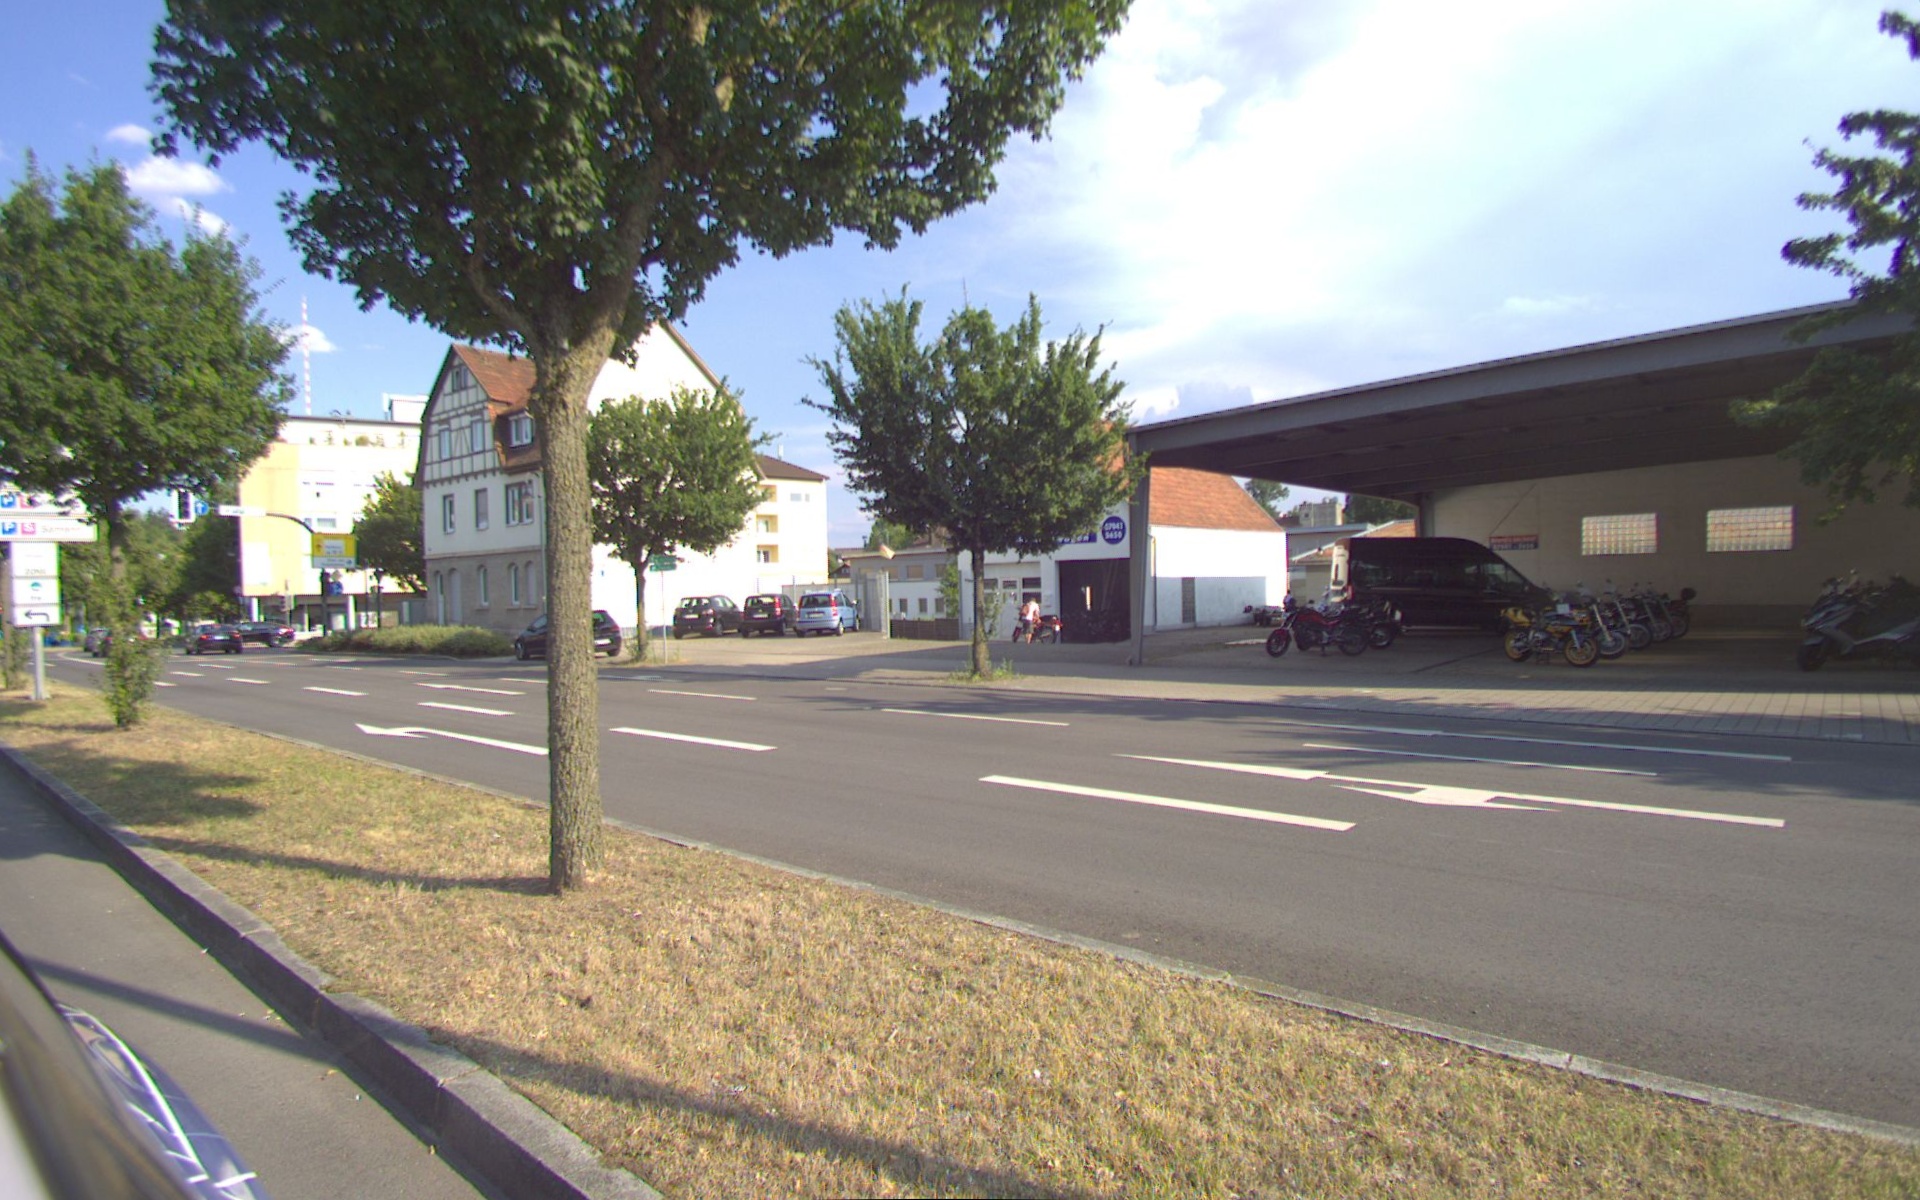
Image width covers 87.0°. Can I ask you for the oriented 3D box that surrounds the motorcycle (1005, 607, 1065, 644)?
[{"bbox_3d":[2.450,0.833,33.204,1.974,1.194,0.577,-1,0,41],"label":"motorcycle"}]

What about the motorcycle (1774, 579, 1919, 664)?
[{"bbox_3d":[14.929,0.356,16.770,2.103,1.306,0.628,-3,-1,17],"label":"motorcycle"}]

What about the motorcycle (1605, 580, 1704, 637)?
[{"bbox_3d":[17.307,0.214,25.297,0.621,1.347,2.269,-1,0,-9],"label":"motorcycle"}]

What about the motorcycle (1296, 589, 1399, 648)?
[{"bbox_3d":[9.395,0.447,24.602,2.198,1.372,0.630,-1,0,5],"label":"motorcycle"}]

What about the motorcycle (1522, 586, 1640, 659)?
[{"bbox_3d":[12.174,0.432,19.950,0.621,1.347,2.269,-1,0,-9],"label":"motorcycle"}]

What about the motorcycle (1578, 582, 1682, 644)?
[{"bbox_3d":[15.553,0.296,23.573,0.621,1.347,2.269,-1,0,-9],"label":"motorcycle"}]

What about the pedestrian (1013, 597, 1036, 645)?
[{"bbox_3d":[2.088,0.670,32.758,0.485,1.530,0.496,-1,0,41],"label":"pedestrian"}]

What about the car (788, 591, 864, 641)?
[{"bbox_3d":[-4.667,0.514,35.671,1.797,1.512,3.819,-3,2,5],"label":"car"}]

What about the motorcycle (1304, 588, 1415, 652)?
[{"bbox_3d":[8.972,0.445,22.798,2.198,1.372,0.630,-1,0,5],"label":"motorcycle"}]

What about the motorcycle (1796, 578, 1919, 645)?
[{"bbox_3d":[19.050,0.251,21.284,2.103,1.306,0.628,-3,-1,17],"label":"motorcycle"}]

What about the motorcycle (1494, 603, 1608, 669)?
[{"bbox_3d":[10.547,0.614,18.146,0.621,1.095,2.038,-1,0,-7],"label":"motorcycle"}]

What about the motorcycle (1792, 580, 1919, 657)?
[{"bbox_3d":[16.547,0.335,18.342,2.103,1.306,0.628,-3,-1,17],"label":"motorcycle"}]

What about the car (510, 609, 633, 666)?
[{"bbox_3d":[-11.584,1.076,30.070,3.823,1.462,1.795,-1,2,42],"label":"car"}]

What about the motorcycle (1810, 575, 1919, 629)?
[{"bbox_3d":[23.750,0.066,26.516,2.103,1.306,0.628,-3,-1,17],"label":"motorcycle"}]

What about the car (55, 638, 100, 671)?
[{"bbox_3d":[-51.537,3.154,59.165,1.754,1.706,4.008,-1,0,-38],"label":"car"}]

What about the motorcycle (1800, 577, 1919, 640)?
[{"bbox_3d":[20.244,0.201,22.638,2.103,1.306,0.628,-3,-1,17],"label":"motorcycle"}]

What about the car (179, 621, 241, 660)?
[{"bbox_3d":[-35.436,1.887,47.772,4.002,1.706,1.757,-1,0,45],"label":"car"}]

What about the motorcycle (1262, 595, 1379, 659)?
[{"bbox_3d":[7.512,0.556,21.154,2.202,1.290,0.629,-1,0,11],"label":"motorcycle"}]

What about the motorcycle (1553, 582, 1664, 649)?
[{"bbox_3d":[13.880,0.319,21.763,0.621,1.347,2.269,-1,0,-9],"label":"motorcycle"}]

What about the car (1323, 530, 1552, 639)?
[{"bbox_3d":[12.882,-0.384,27.622,5.221,2.773,1.996,-1,0,7],"label":"car"}]

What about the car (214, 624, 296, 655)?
[{"bbox_3d":[-41.912,2.340,60.202,3.935,1.687,1.791,-1,0,-38],"label":"car"}]

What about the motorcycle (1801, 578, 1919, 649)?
[{"bbox_3d":[18.061,0.264,19.983,2.103,1.306,0.628,-3,-1,17],"label":"motorcycle"}]

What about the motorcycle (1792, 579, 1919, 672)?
[{"bbox_3d":[13.877,0.371,15.110,2.103,1.306,0.628,-3,-1,17],"label":"motorcycle"}]

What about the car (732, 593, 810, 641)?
[{"bbox_3d":[-6.906,0.580,37.301,1.797,1.512,3.819,-3,2,5],"label":"car"}]

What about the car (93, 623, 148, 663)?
[{"bbox_3d":[-38.847,1.932,46.821,1.756,1.706,4.004,-1,0,-43],"label":"car"}]

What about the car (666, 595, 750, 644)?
[{"bbox_3d":[-9.306,0.684,37.693,1.797,1.512,3.819,-3,2,5],"label":"car"}]
